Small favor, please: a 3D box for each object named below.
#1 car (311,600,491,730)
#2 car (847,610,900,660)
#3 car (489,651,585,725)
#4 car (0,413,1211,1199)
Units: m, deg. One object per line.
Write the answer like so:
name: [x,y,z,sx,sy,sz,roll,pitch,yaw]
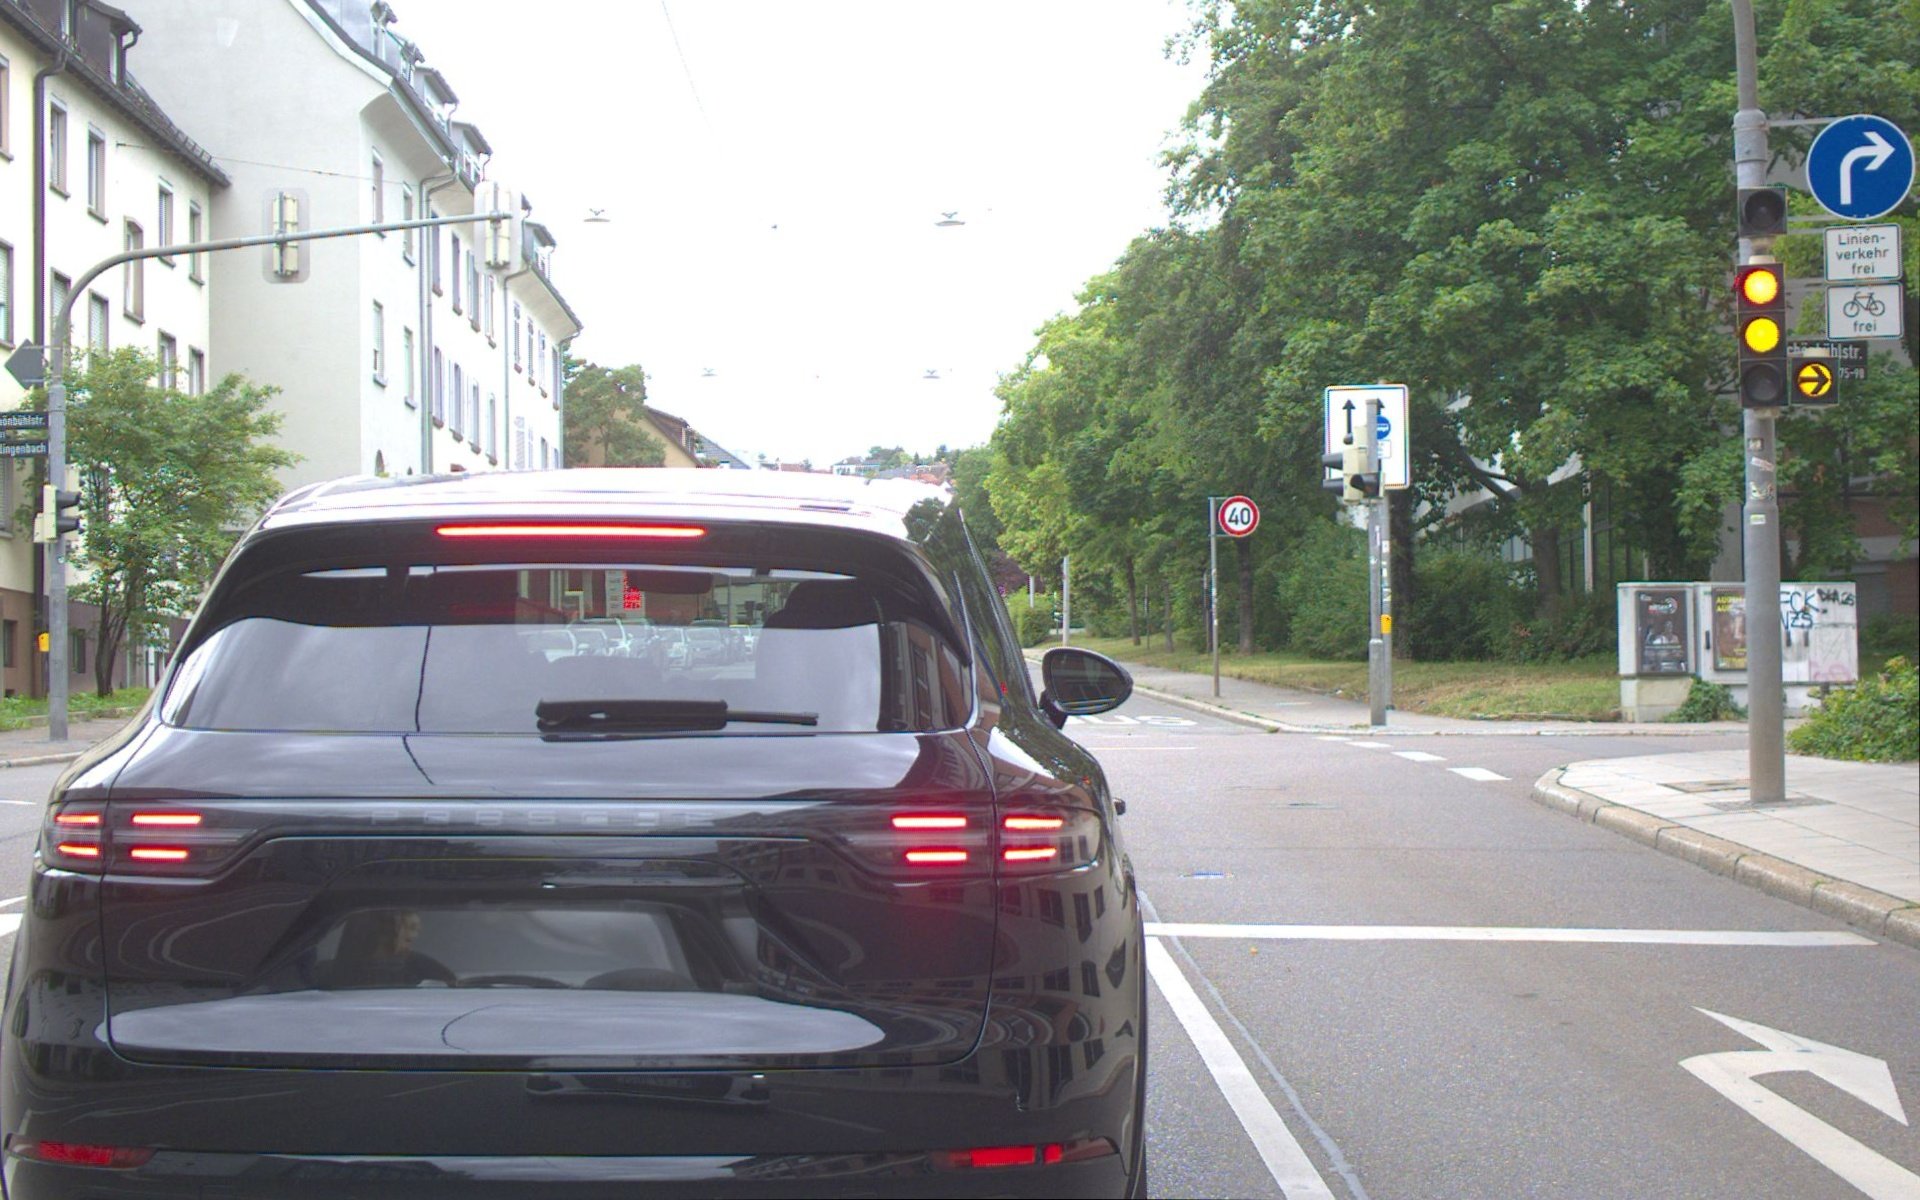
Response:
car: [-7.358,0.832,45.550,1.664,1.514,3.740,-4,0,0]
car: [-2.872,1.136,113.507,1.688,1.547,3.889,1,1,-2]
car: [-8.533,1.761,69.623,1.669,1.357,4.001,0,1,-3]
car: [-0.653,0.557,7.161,1.993,1.691,4.000,1,1,-1]
